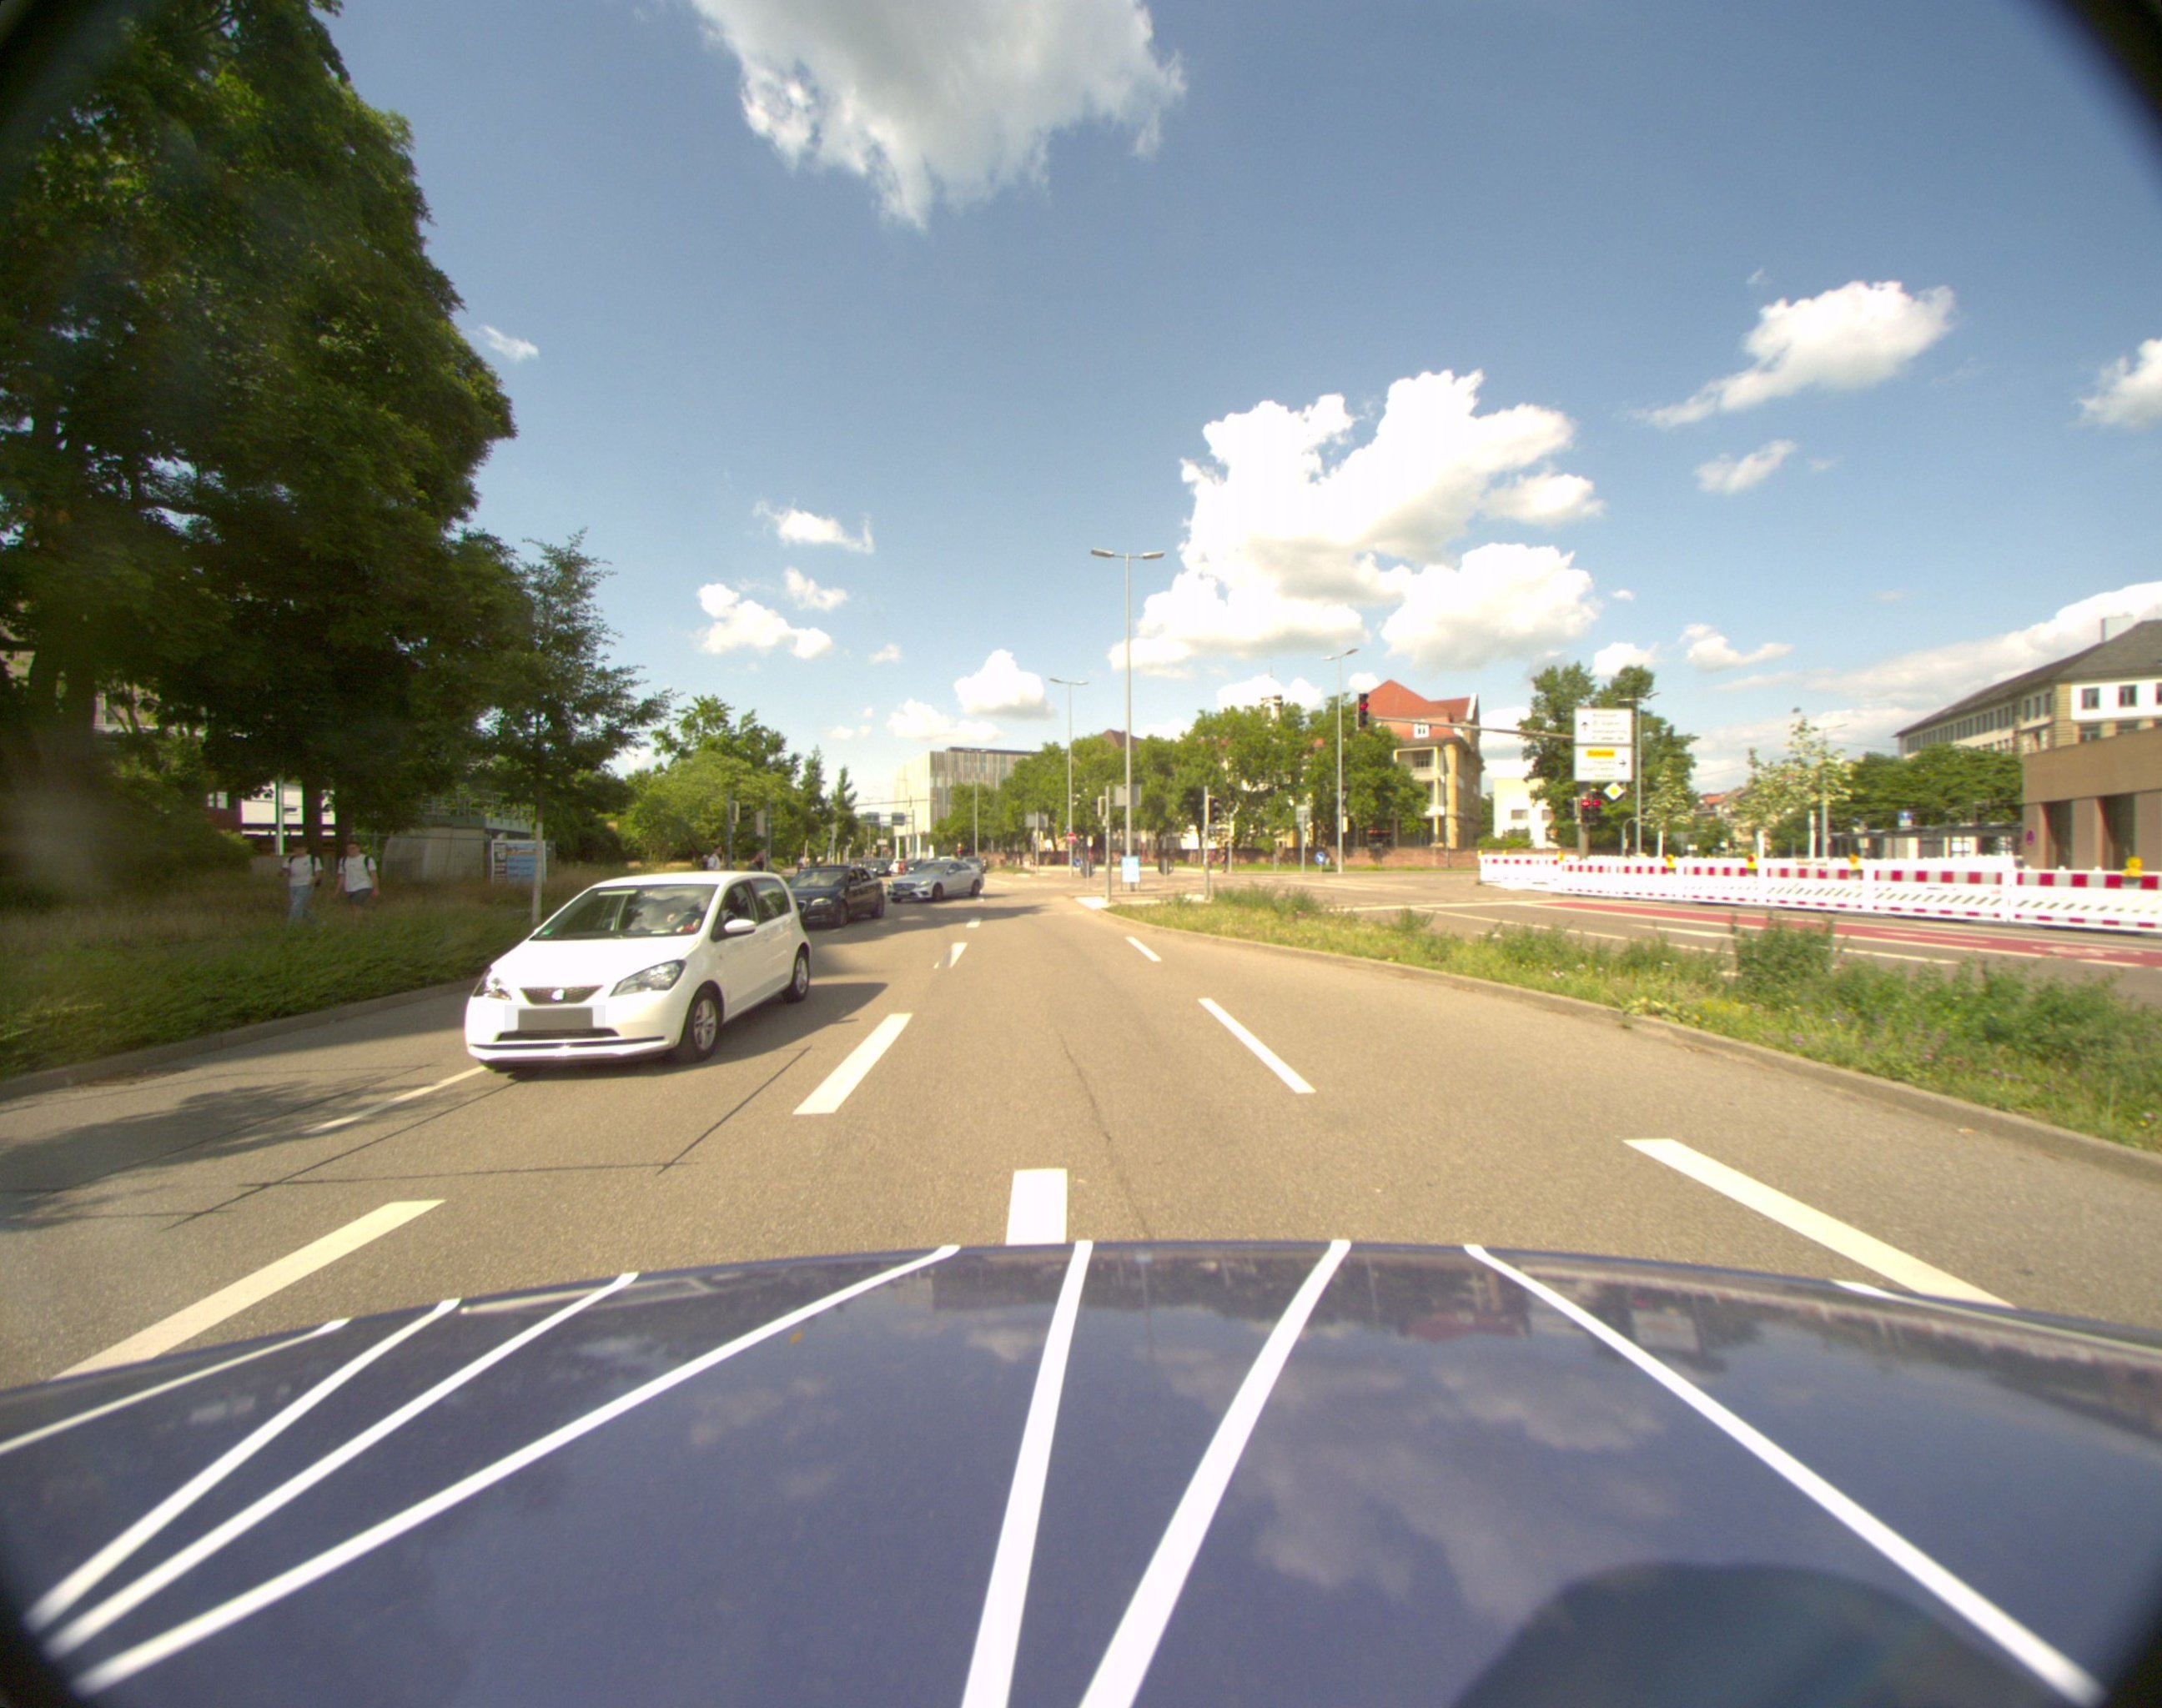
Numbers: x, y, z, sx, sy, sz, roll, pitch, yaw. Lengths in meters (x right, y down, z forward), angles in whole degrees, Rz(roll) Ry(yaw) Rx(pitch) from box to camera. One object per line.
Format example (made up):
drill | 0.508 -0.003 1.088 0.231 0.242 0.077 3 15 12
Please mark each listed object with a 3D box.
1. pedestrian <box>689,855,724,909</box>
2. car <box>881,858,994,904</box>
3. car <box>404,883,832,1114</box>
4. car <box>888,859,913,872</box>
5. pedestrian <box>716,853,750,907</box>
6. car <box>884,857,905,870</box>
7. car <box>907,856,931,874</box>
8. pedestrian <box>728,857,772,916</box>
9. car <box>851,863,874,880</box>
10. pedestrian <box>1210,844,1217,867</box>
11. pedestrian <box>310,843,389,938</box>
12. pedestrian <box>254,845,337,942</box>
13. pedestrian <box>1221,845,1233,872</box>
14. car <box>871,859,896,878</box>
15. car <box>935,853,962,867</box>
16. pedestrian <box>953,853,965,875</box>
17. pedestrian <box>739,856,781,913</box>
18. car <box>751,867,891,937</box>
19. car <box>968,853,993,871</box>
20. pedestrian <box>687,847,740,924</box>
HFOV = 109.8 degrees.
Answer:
pedestrian | -12.446 0.921 25.286 0.768 1.725 0.718 -2 1 -8
car | -5.124 0.919 27.970 1.932 1.447 4.765 -1 1 19
car | -3.827 1.070 7.221 1.654 1.413 3.999 0 0 -1
car | -16.342 1.052 68.764 1.600 1.127 3.622 -1 0 -23
pedestrian | -11.474 0.836 25.071 0.768 1.725 0.718 -2 1 -8
car | -18.410 0.925 75.110 1.911 1.127 4.096 -1 2 -13
car | -13.741 0.897 64.281 1.828 1.454 3.995 -1 0 -15
pedestrian | -10.080 0.969 23.161 0.928 1.725 0.768 -2 1 -2
car | -19.749 1.562 68.797 1.827 1.454 3.995 -1 0 -13
pedestrian | 10.349 0.121 59.448 0.369 1.722 0.450 -2 1 -1
pedestrian | -13.521 0.655 14.066 0.616 1.690 0.889 2 1 -5
pedestrian | -14.297 0.692 13.853 0.616 1.690 0.889 2 1 -5
pedestrian | 11.145 0.342 57.839 0.582 1.982 0.621 -3 1 -27
car | -16.206 1.194 62.368 1.827 1.454 3.995 -1 0 -13
car | -13.783 0.634 78.980 1.781 1.346 3.992 -2 1 -23
pedestrian | -9.670 0.764 60.151 0.739 1.704 0.874 -3 1 -22
pedestrian | -10.095 0.942 23.937 0.928 1.725 0.768 -2 1 -2
car | -6.115 1.062 18.409 1.702 1.364 4.133 -1 1 4
car | -8.659 0.657 65.190 2.000 1.368 4.265 -2 1 -10
pedestrian | -9.933 0.836 20.574 0.965 2.002 0.768 -2 1 -2
